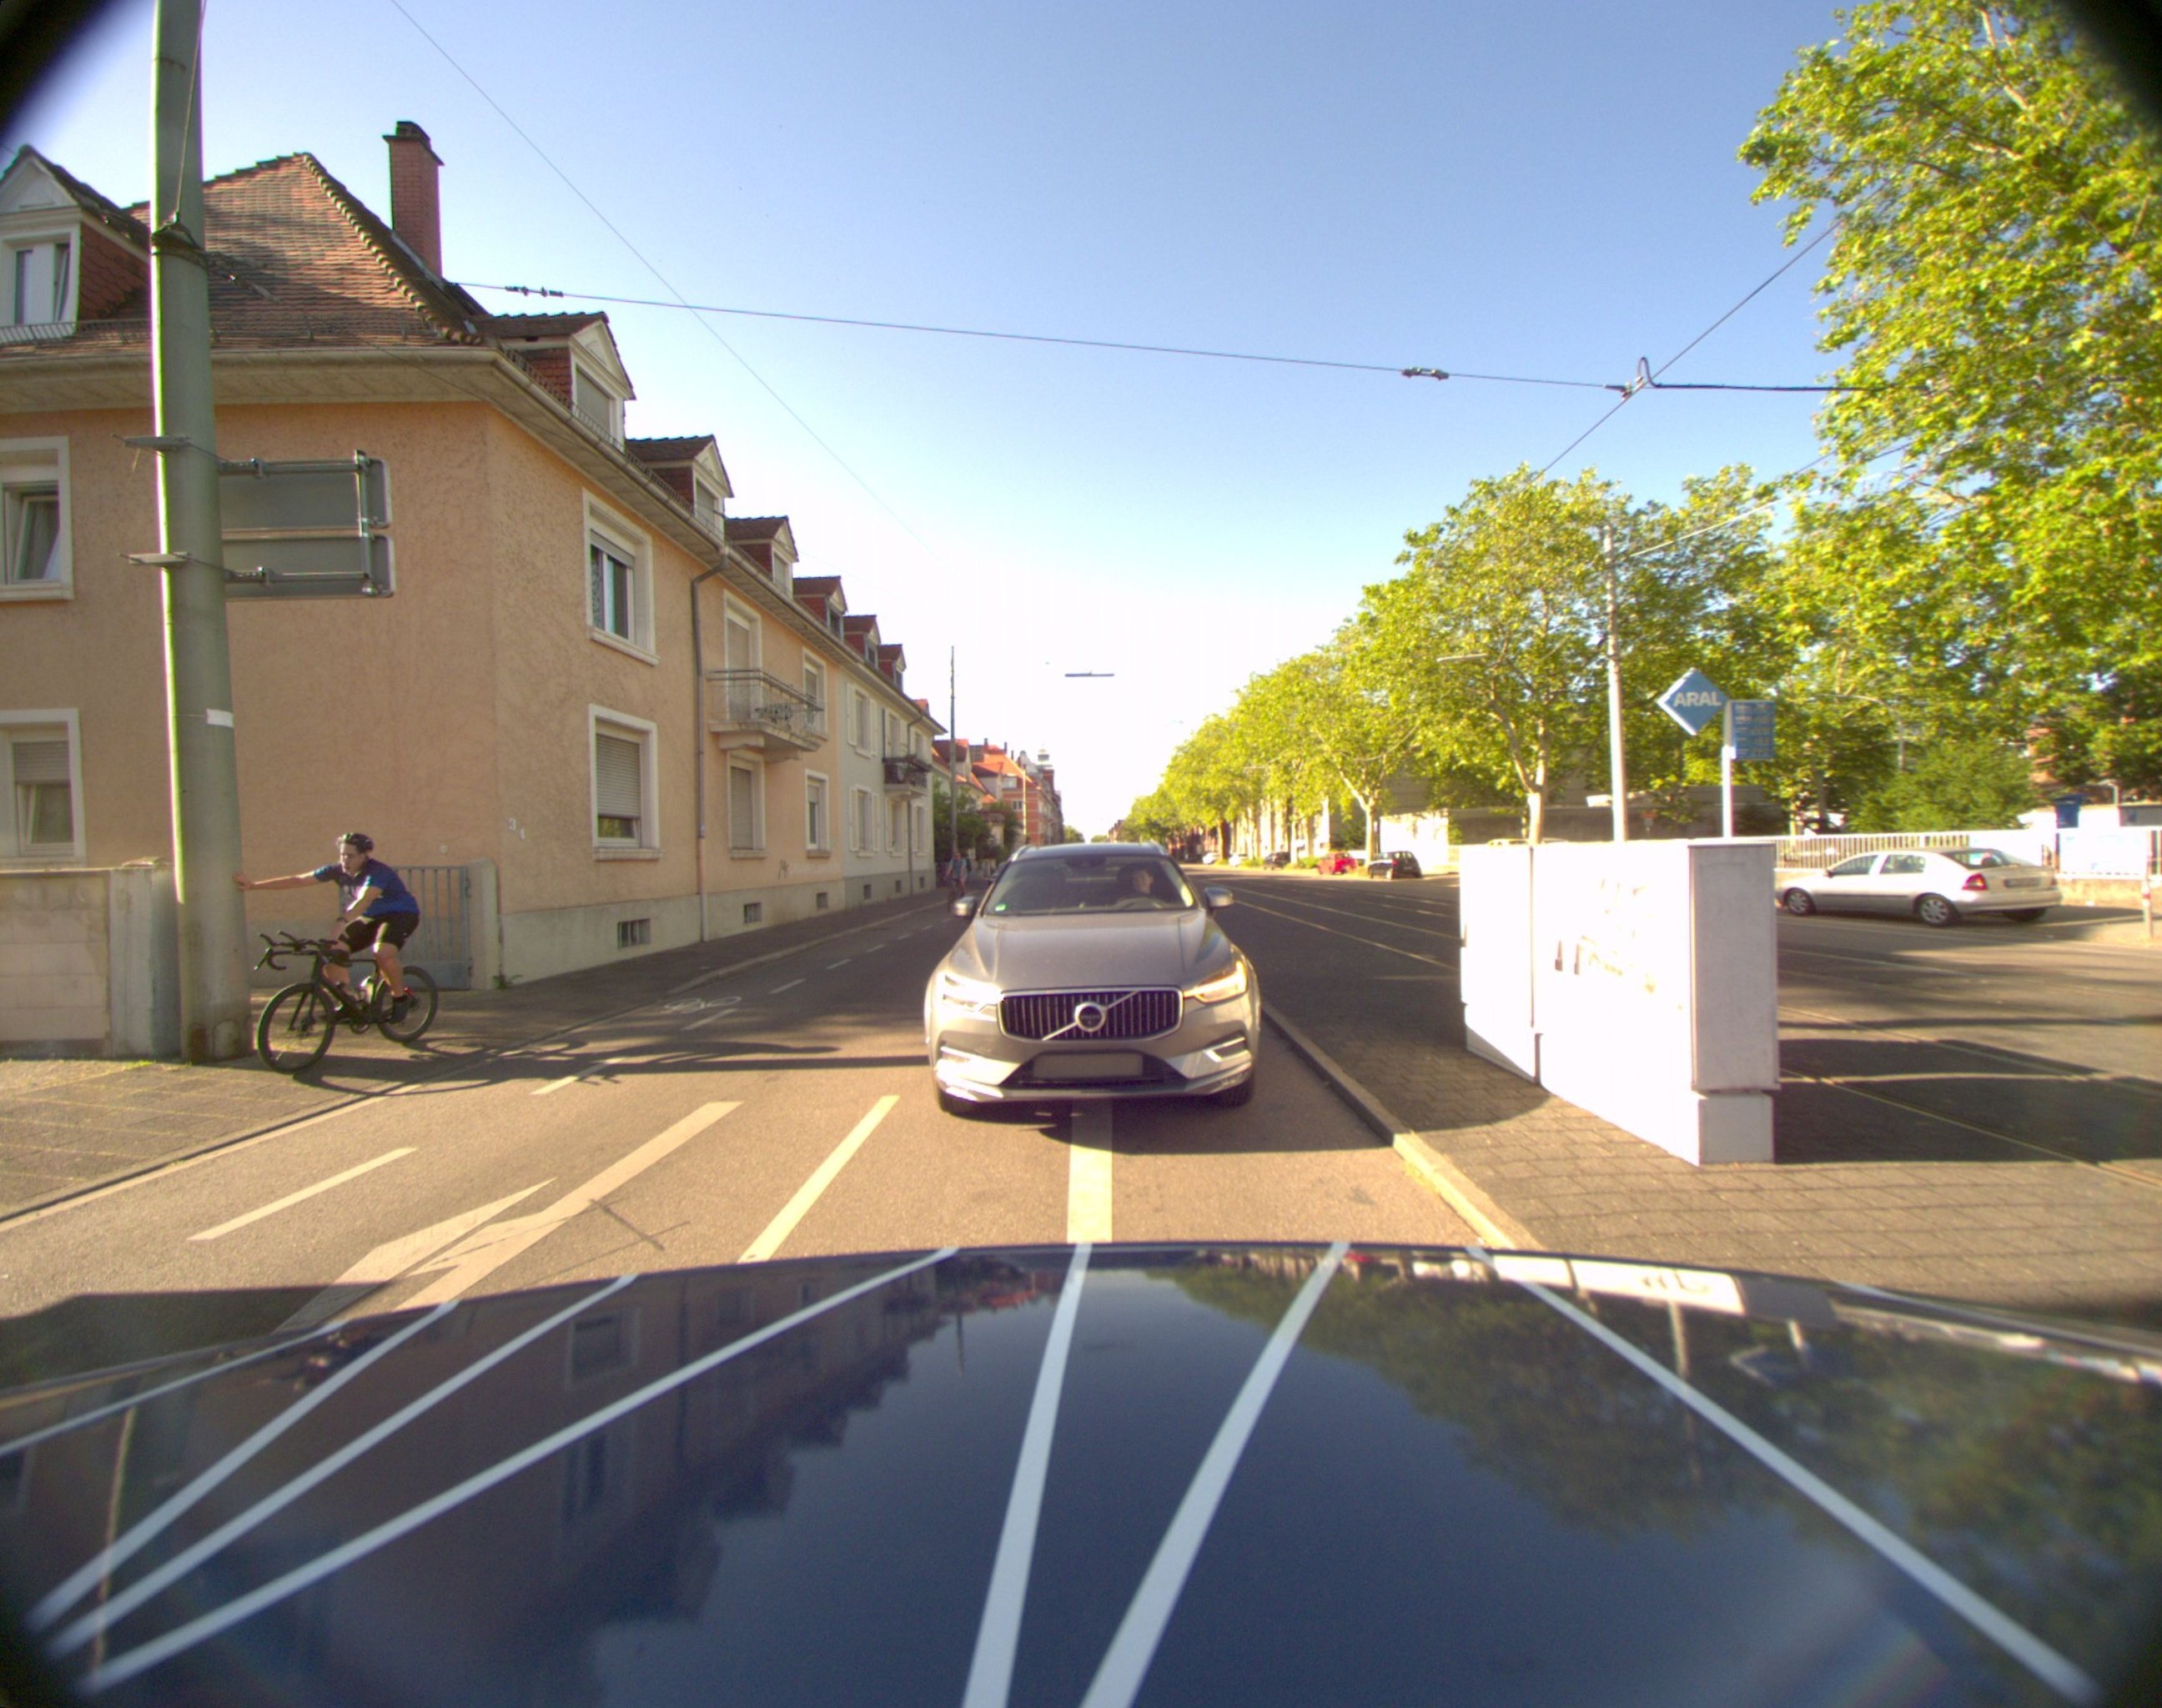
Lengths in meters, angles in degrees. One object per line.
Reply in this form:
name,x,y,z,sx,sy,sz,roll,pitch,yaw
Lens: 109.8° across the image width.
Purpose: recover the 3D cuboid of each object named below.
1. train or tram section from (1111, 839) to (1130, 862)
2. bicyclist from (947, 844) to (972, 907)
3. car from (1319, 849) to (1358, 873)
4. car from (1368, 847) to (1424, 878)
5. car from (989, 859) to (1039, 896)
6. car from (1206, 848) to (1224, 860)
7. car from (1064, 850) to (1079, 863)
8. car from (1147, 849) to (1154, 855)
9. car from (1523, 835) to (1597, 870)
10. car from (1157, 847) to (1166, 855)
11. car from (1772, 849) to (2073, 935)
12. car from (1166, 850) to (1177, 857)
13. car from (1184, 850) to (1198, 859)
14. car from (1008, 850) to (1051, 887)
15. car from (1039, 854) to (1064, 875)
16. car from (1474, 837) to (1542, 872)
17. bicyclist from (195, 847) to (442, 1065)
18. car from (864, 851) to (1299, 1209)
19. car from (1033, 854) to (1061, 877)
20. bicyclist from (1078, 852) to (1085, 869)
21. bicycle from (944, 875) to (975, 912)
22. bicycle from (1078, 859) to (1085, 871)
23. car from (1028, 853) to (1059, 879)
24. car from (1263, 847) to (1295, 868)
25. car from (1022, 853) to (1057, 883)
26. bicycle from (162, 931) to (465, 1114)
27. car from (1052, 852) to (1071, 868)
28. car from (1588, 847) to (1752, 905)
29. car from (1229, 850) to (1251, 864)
train or tram section,6.804,-0.618,133.446,2.717,3.643,12.653,-1,0,0
bicyclist,-3.766,0.675,23.575,0.519,1.922,0.946,-1,-2,4
car,16.878,0.440,49.870,1.599,1.498,2.622,-3,0,1
car,16.886,0.432,40.899,1.599,1.498,3.304,-3,0,1
car,-3.222,1.089,37.050,1.695,1.571,3.815,-3,0,5
car,17.794,0.034,100.718,1.695,1.440,3.749,-3,0,1
car,-1.292,0.373,107.106,1.793,1.673,3.814,-3,0,2
car,19.658,-0.610,214.812,1.695,1.775,3.749,-3,0,1
car,23.880,-0.076,38.029,1.599,1.583,3.304,-2,0,1
car,20.242,-0.716,191.418,1.695,1.775,3.749,-3,0,1
car,16.227,0.644,14.985,1.695,1.395,3.813,-3,0,1
car,19.270,-0.184,161.881,1.695,1.440,3.749,-3,0,1
car,18.200,0.080,125.527,1.695,1.440,3.749,-3,0,1
car,-2.823,0.746,42.824,1.793,1.828,5.149,-3,0,2
car,-2.551,0.866,67.078,1.793,1.673,3.814,-3,0,2
car,21.547,0.019,38.477,1.599,1.606,3.304,-2,0,1
bicyclist,-6.185,0.782,6.233,1.051,1.599,0.885,4,0,1
car,0.031,0.830,5.757,1.998,1.628,4.306,-2,0,1
car,-2.719,0.892,61.034,1.793,1.673,3.814,-3,0,2
bicyclist,0.043,0.618,73.851,0.685,1.611,0.855,-2,1,1
bicycle,-3.755,1.214,23.567,0.519,1.084,1.797,-1,-2,4
bicycle,0.060,1.027,73.849,0.685,1.098,1.806,-2,1,1
car,-2.631,0.841,54.009,1.793,1.673,3.814,-3,0,2
car,17.138,0.280,65.893,1.695,1.648,3.749,-3,0,1
car,-2.584,0.859,48.488,1.793,1.673,3.814,-3,0,2
bicycle,-6.048,1.262,6.163,0.592,1.062,1.775,4,0,1
car,-2.150,0.642,85.373,1.793,1.673,3.814,-3,0,2
car,16.412,0.564,21.420,1.695,1.395,3.749,-3,0,1
car,17.464,0.300,83.547,1.695,1.440,3.749,-3,0,1
